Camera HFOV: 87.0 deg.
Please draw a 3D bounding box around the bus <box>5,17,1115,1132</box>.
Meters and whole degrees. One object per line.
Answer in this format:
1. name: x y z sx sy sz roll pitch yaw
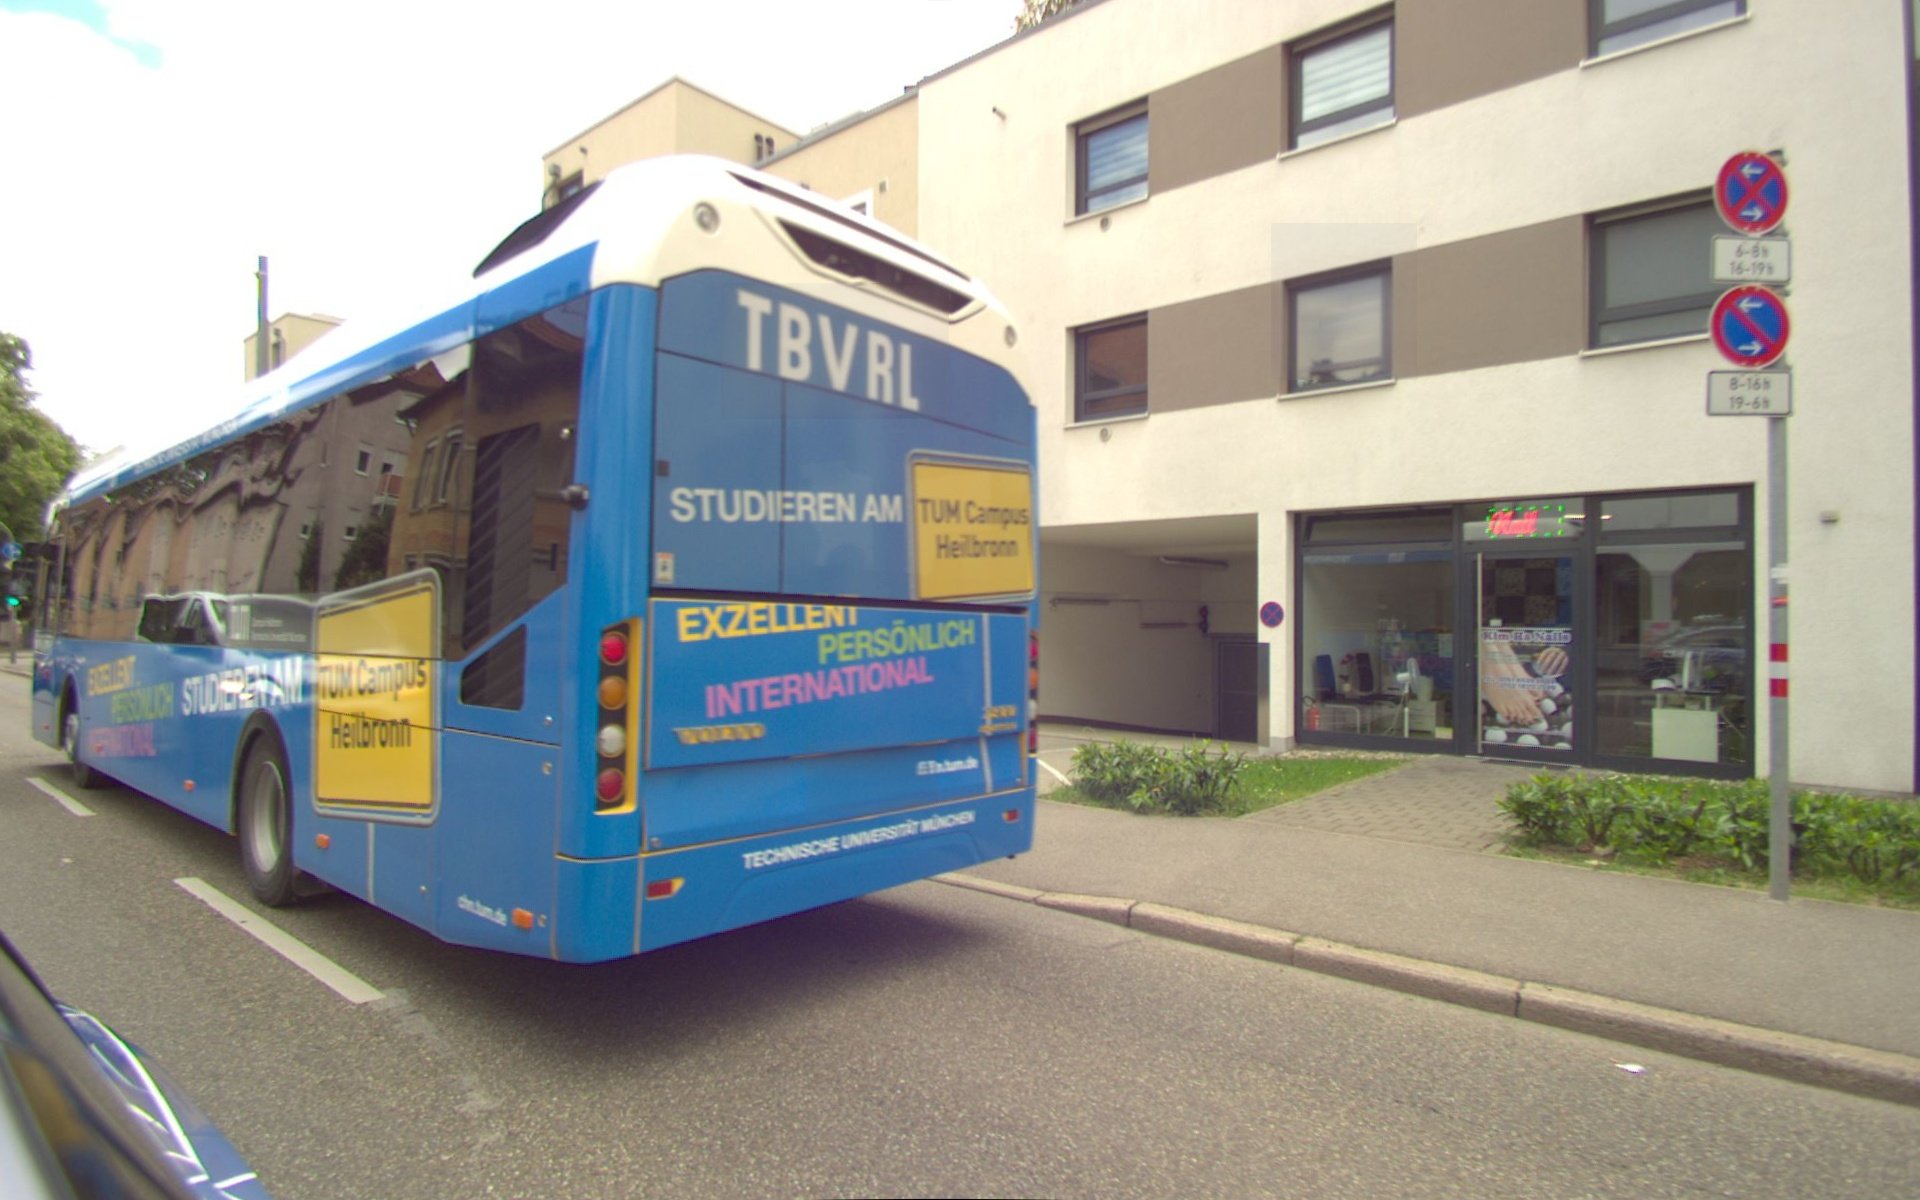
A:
1. bus: -4.672 0.072 8.028 12.000 3.299 2.912 -2 -3 41
